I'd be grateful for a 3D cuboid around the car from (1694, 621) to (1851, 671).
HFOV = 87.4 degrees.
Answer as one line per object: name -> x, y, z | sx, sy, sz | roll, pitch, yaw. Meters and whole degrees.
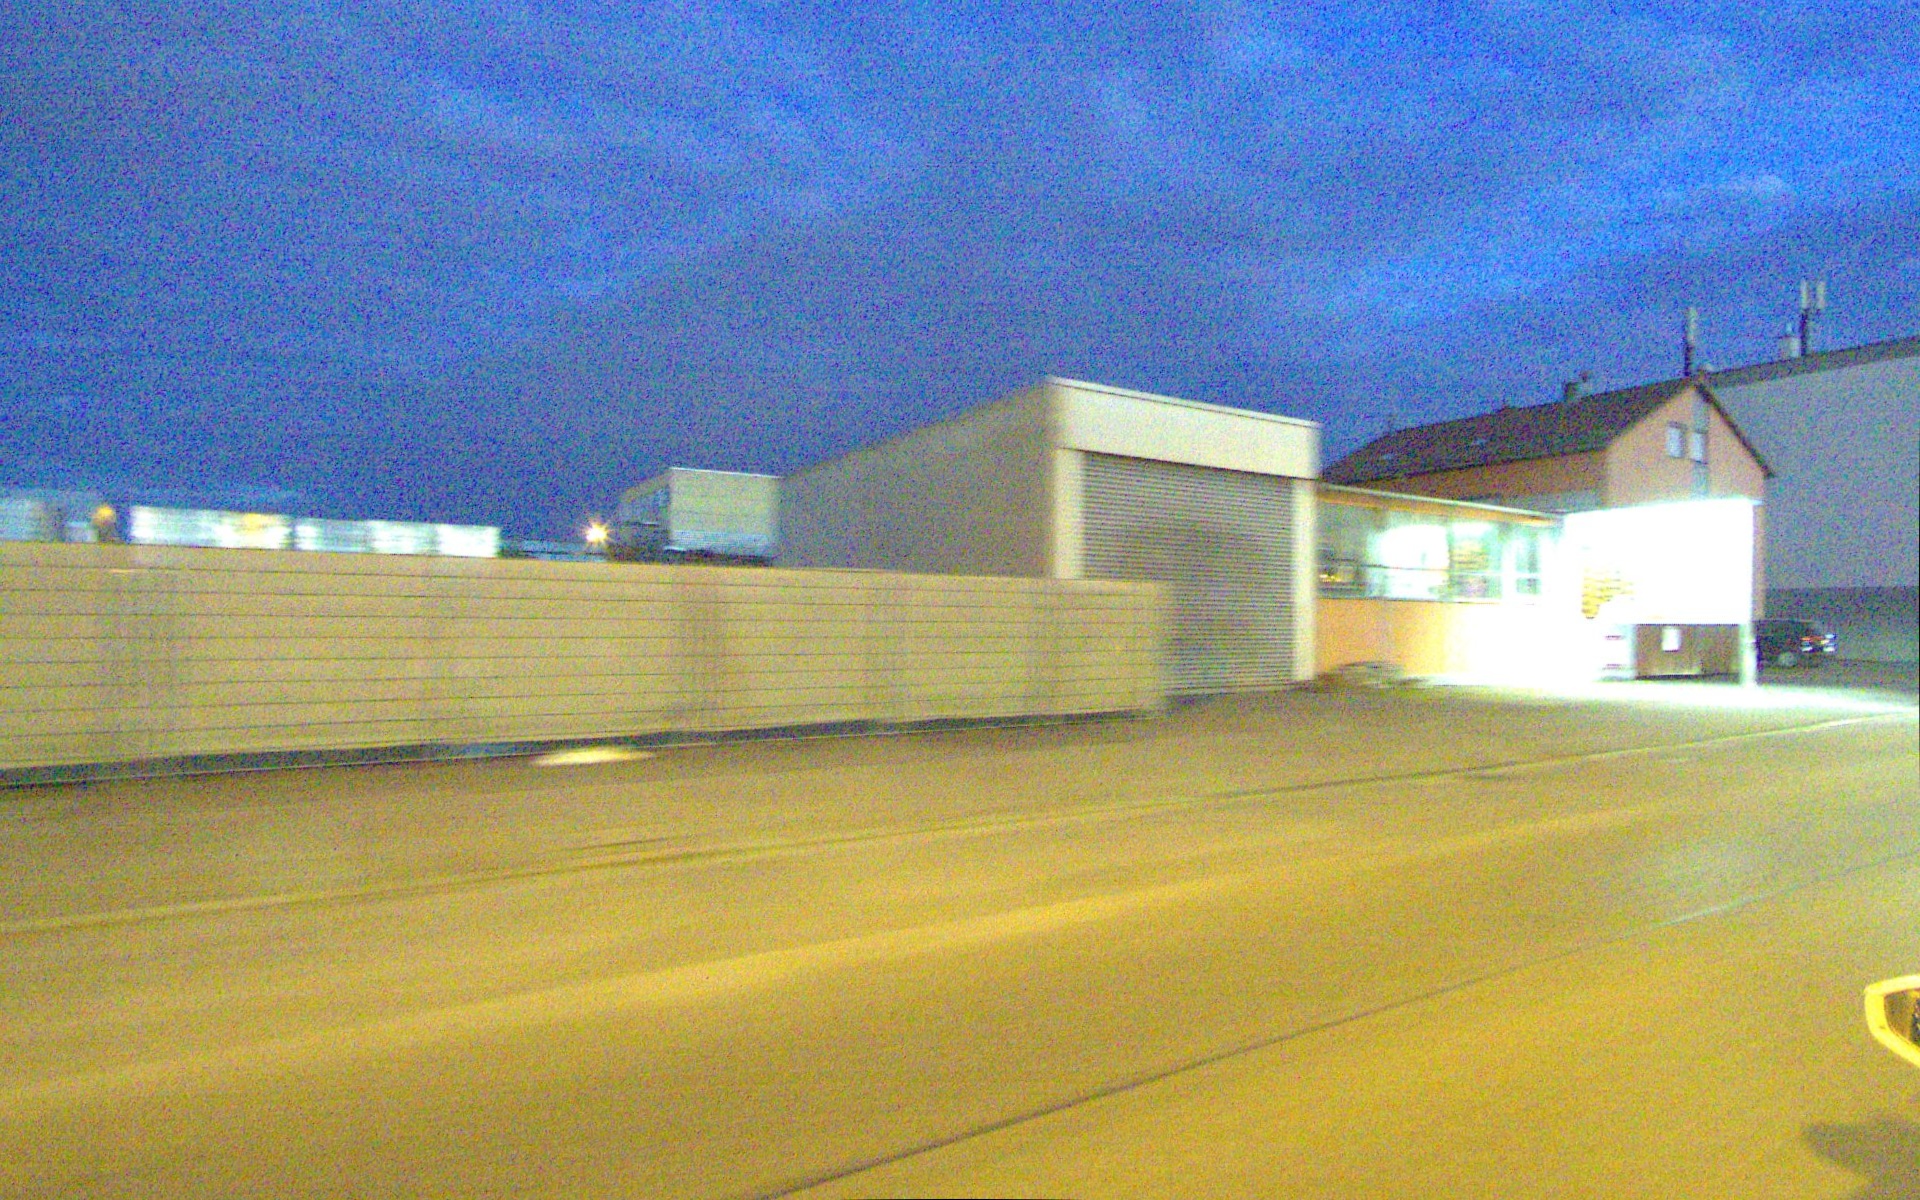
car -> 28.792, 1.581, 35.703 | 1.978, 1.673, 3.965 | 2, -2, -33
